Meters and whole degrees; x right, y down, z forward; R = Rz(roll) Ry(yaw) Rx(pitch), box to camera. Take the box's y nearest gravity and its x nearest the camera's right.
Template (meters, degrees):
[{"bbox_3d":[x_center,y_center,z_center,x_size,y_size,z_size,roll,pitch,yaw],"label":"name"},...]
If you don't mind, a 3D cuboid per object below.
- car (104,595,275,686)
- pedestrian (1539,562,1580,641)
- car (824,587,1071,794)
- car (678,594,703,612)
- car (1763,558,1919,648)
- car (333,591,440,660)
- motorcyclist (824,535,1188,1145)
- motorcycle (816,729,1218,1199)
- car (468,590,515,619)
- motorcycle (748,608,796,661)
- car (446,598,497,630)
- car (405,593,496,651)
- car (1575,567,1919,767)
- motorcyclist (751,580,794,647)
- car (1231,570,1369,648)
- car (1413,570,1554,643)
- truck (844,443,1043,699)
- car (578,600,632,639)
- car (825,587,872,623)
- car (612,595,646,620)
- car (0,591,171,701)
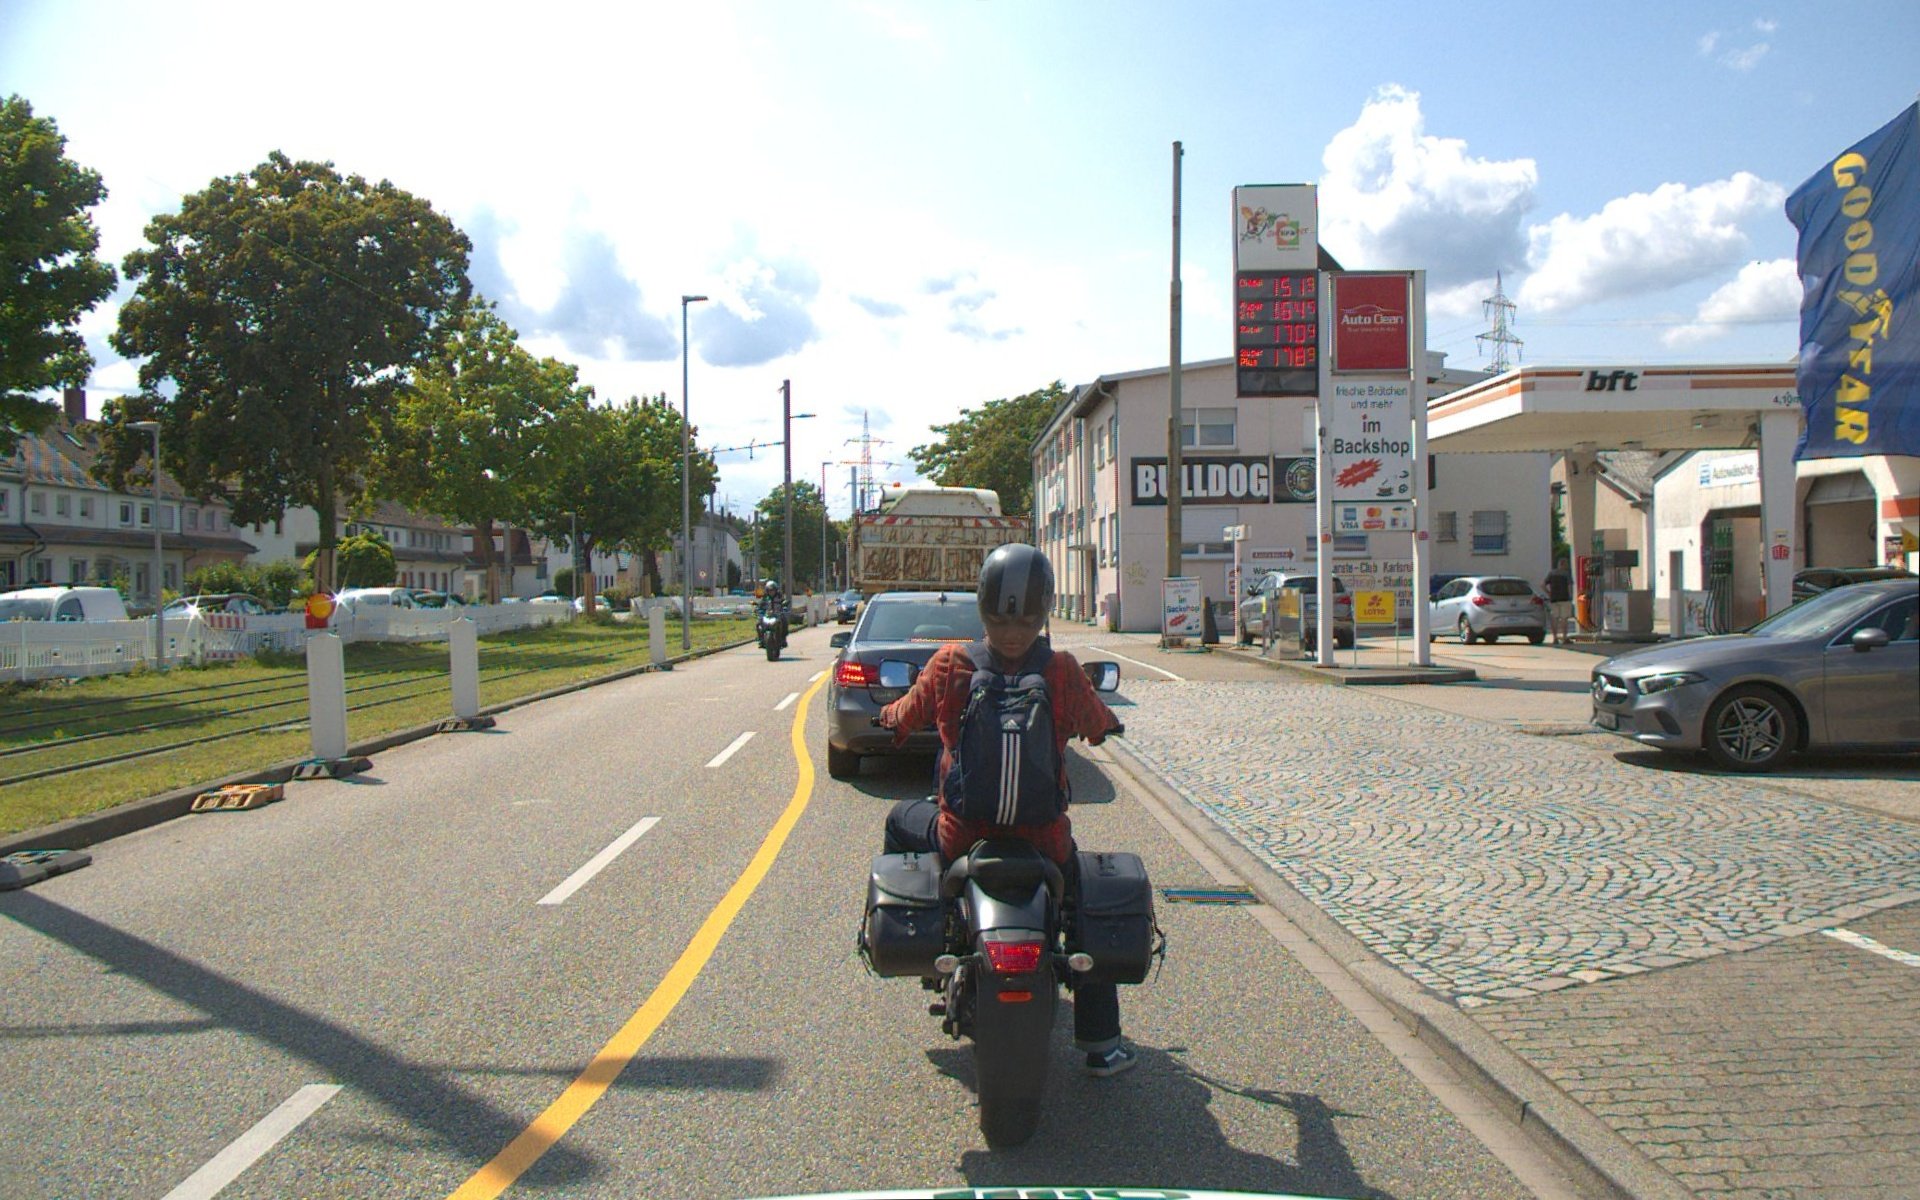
[{"bbox_3d":[-16.674,0.825,36.033,1.740,1.805,4.227,-1,0,-1],"label":"car"},{"bbox_3d":[12.953,0.032,35.718,0.696,1.685,0.546,-1,0,35],"label":"pedestrian"},{"bbox_3d":[-0.118,0.647,14.103,1.786,1.478,3.999,1,0,-1],"label":"car"},{"bbox_3d":[-26.072,0.278,160.266,1.740,1.753,4.250,-1,0,-1],"label":"car"},{"bbox_3d":[16.617,0.027,30.326,1.770,1.529,3.832,-1,0,-3],"label":"car"},{"bbox_3d":[-16.940,0.715,49.042,1.740,1.900,4.127,-1,0,-1],"label":"car"},{"bbox_3d":[0.119,0.644,5.024,0.959,1.630,1.087,-1,0,-1],"label":"motorcyclist"},{"bbox_3d":[0.121,0.998,5.330,0.959,0.913,2.653,-1,0,-1],"label":"motorcycle"},{"bbox_3d":[-29.423,0.271,103.960,1.740,1.753,4.127,-1,0,-1],"label":"car"},{"bbox_3d":[-3.974,0.713,35.107,0.851,1.039,2.243,-1,0,-3],"label":"motorcycle"},{"bbox_3d":[-28.297,0.775,95.842,1.740,1.753,4.127,-1,0,-1],"label":"car"},{"bbox_3d":[-16.972,0.698,55.268,1.740,1.837,4.127,-1,0,-1],"label":"car"},{"bbox_3d":[7.165,0.469,12.857,4.181,1.440,1.675,-1,0,7],"label":"car"},{"bbox_3d":[-3.984,0.279,35.231,0.851,1.402,0.800,-1,0,-4],"label":"motorcyclist"},{"bbox_3d":[7.457,0.177,36.637,1.636,1.589,4.236,-1,0,-8],"label":"car"},{"bbox_3d":[11.721,0.121,37.272,1.770,1.529,3.831,-1,0,-3],"label":"car"},{"bbox_3d":[-0.273,-0.427,26.003,2.585,3.354,8.055,-1,0,-1],"label":"truck"},{"bbox_3d":[-17.053,0.908,79.637,1.740,1.753,4.127,-1,0,-1],"label":"car"},{"bbox_3d":[-4.916,0.206,73.310,1.786,1.478,4.323,-2,0,-1],"label":"car"},{"bbox_3d":[-24.961,0.544,124.860,1.740,1.753,4.127,-1,0,-1],"label":"car"},{"bbox_3d":[-16.410,0.783,30.397,1.740,1.853,4.363,-1,0,-1],"label":"car"}]
